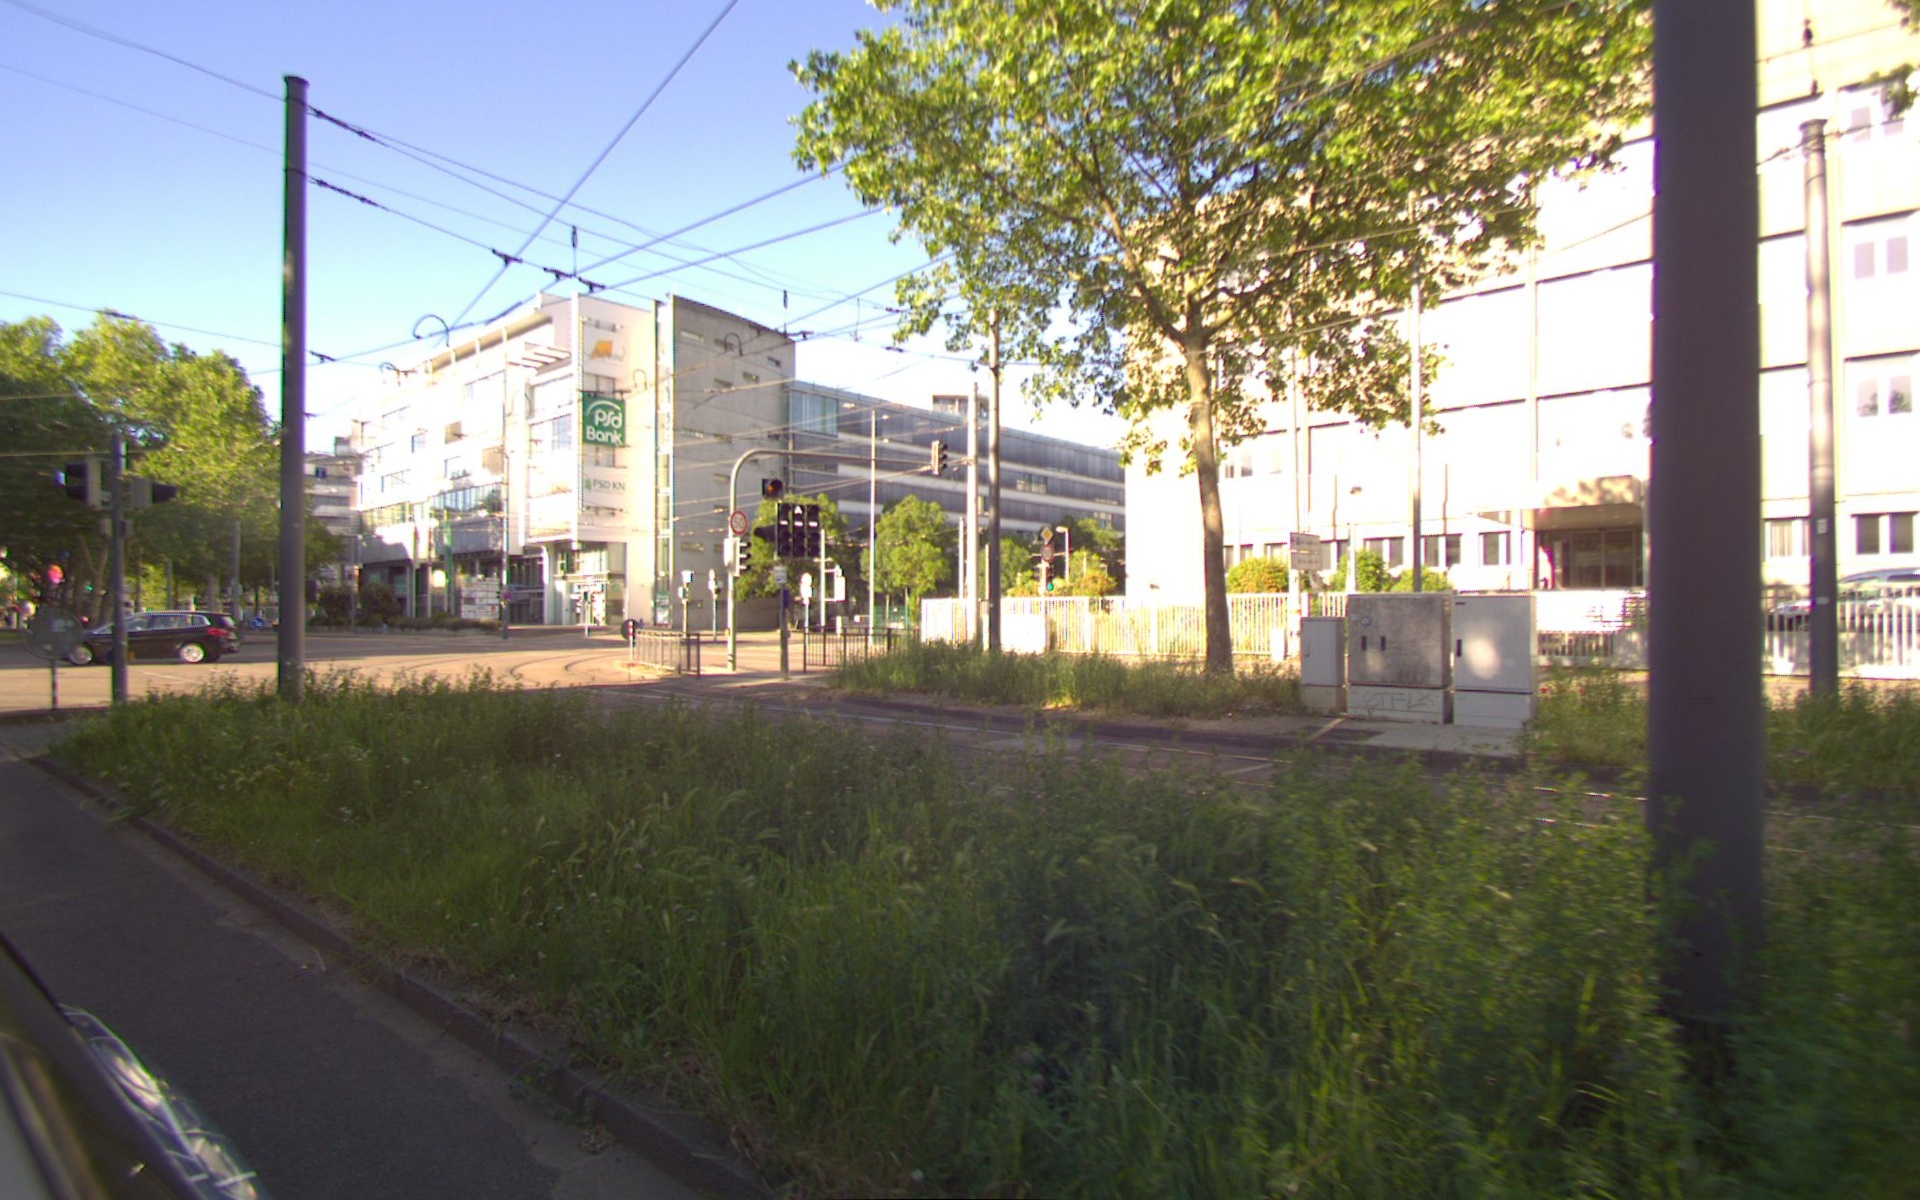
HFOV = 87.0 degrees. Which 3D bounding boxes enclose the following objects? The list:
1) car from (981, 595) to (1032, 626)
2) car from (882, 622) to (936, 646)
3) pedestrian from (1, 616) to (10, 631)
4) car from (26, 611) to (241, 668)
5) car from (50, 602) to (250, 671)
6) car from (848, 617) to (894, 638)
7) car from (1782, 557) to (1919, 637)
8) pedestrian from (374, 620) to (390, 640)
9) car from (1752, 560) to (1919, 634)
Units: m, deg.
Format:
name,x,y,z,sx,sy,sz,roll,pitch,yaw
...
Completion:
name,x,y,z,sx,sy,sz,roll,pitch,yaw
car,3.944,0.851,85.000,2.180,2.524,4.343,-1,-1,39
car,-3.757,2.507,75.215,2.104,1.710,3.923,-1,-1,35
pedestrian,-113.967,2.852,120.858,0.674,1.767,0.649,-1,-1,34
car,-24.962,1.174,30.793,4.673,1.629,2.006,0,-1,-20
car,-24.611,1.073,30.957,4.348,1.962,2.006,0,-1,-19
car,-7.682,2.350,87.270,1.734,1.666,3.900,-1,-1,40
car,24.970,-0.053,26.792,1.970,2.029,4.729,1,-2,-43
pedestrian,-45.951,2.373,80.497,0.767,1.604,0.896,-2,-2,41
car,22.466,-0.040,24.953,1.970,1.716,4.382,1,-2,-43
